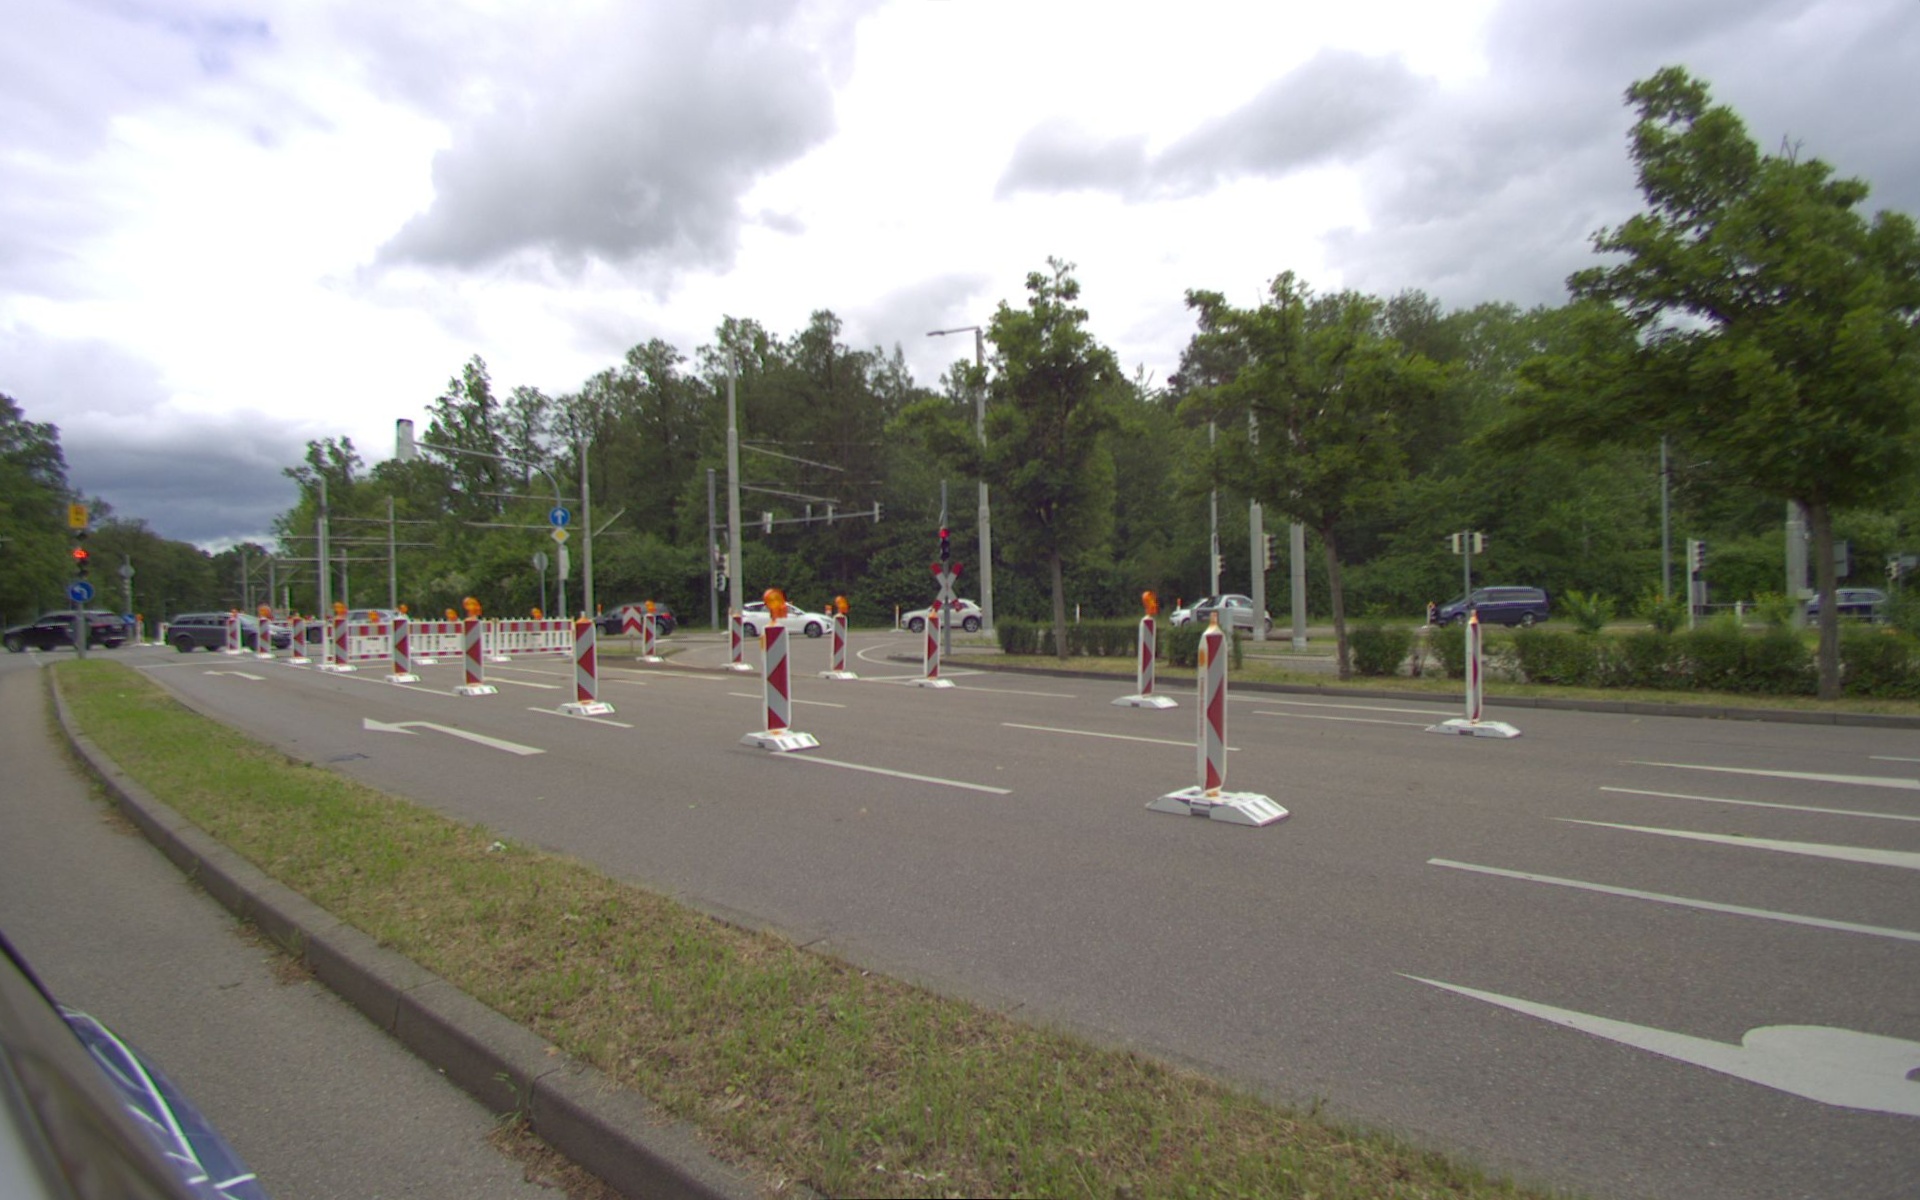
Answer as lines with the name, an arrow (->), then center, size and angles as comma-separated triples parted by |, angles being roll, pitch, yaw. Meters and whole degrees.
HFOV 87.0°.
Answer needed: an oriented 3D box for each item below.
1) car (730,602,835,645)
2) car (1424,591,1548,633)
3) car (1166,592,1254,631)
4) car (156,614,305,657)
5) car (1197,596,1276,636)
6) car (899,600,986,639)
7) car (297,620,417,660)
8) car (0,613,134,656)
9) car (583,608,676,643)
car -> -6.955, 0.914, 39.968 | 3.939, 1.499, 1.771 | -2, 1, -5
car -> 25.125, 0.567, 48.498 | 4.774, 1.829, 1.997 | -2, 1, 6
car -> 12.012, 0.525, 48.823 | 3.740, 1.735, 1.858 | -2, 1, 2
car -> -28.007, 1.345, 38.957 | 4.325, 1.447, 1.798 | -2, 1, -3
car -> 11.175, 0.642, 40.951 | 2.704, 1.486, 1.500 | -2, 1, -3
car -> -0.875, 0.906, 48.196 | 3.988, 1.664, 1.860 | -2, 1, -3
car -> -27.957, 1.856, 47.070 | 4.380, 1.607, 1.884 | -2, 1, -8
car -> -40.989, 1.575, 46.477 | 4.406, 1.741, 2.002 | -2, 1, -3
car -> -15.425, 1.185, 47.382 | 3.787, 1.347, 1.664 | -2, 4, -1
